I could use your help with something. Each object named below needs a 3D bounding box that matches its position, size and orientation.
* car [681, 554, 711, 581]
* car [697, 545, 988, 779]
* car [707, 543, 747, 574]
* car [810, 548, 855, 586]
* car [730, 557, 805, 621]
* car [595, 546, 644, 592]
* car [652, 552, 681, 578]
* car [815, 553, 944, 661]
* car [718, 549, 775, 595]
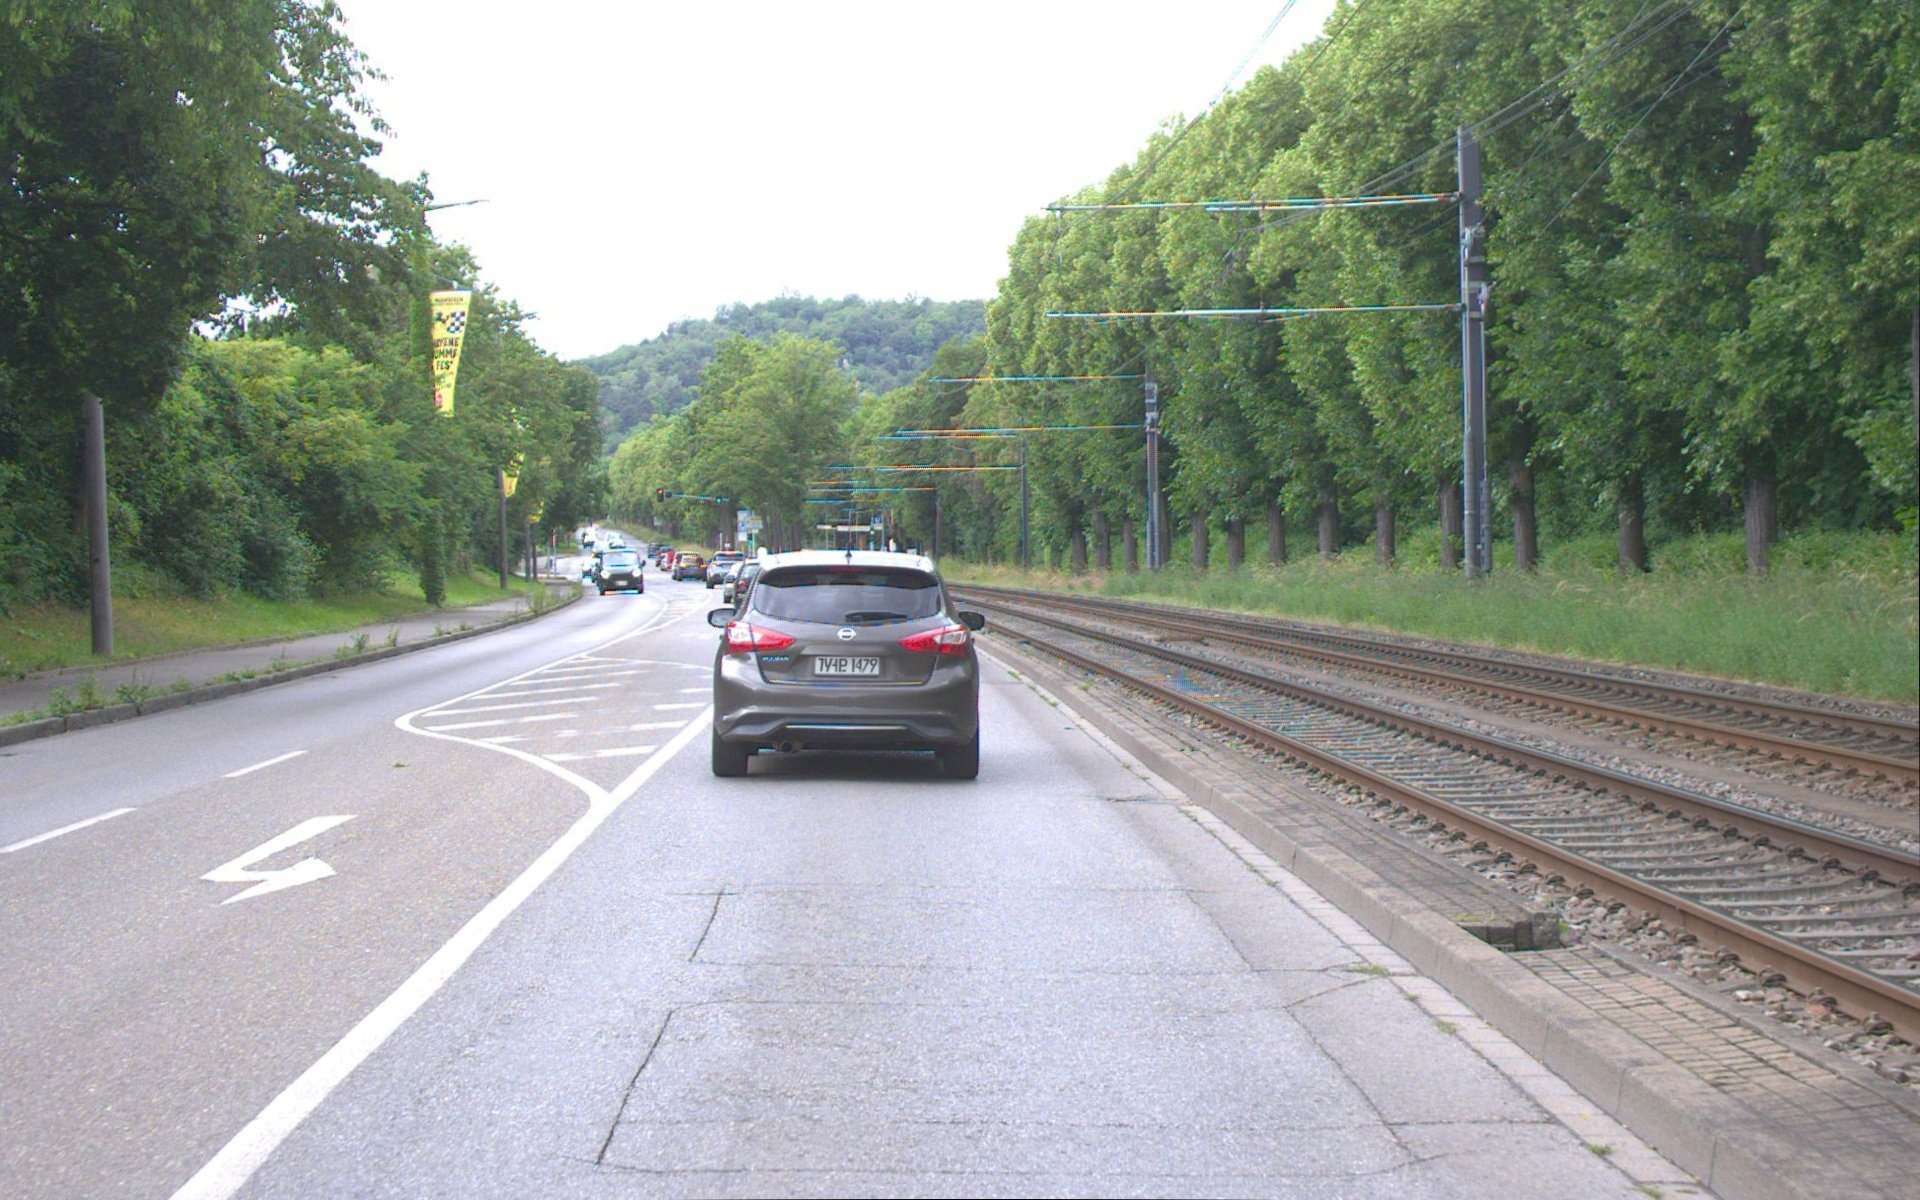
[{"bbox_3d":[-16.899,-2.094,219.889,1.699,1.708,4.000,0,1,-2],"label":"car"},{"bbox_3d":[-0.783,0.367,24.018,1.850,1.488,4.000,0,1,-1],"label":"car"},{"bbox_3d":[-11.520,-2.040,169.987,1.794,1.505,4.000,0,1,-2],"label":"car"},{"bbox_3d":[-4.926,-1.280,133.259,1.699,1.438,4.000,0,1,-2],"label":"car"},{"bbox_3d":[-4.516,-0.279,80.195,1.699,1.438,4.001,0,1,-4],"label":"car"},{"bbox_3d":[-15.456,-1.421,156.364,1.993,2.029,5.117,-1,1,-4],"label":"car"},{"bbox_3d":[-19.662,-2.323,230.518,1.699,1.708,4.000,0,1,-2],"label":"car"},{"bbox_3d":[-1.158,0.070,48.092,1.699,1.438,4.000,0,1,-3],"label":"car"},{"bbox_3d":[-6.890,-0.920,111.310,1.699,1.438,4.000,0,1,-2],"label":"car"}]
